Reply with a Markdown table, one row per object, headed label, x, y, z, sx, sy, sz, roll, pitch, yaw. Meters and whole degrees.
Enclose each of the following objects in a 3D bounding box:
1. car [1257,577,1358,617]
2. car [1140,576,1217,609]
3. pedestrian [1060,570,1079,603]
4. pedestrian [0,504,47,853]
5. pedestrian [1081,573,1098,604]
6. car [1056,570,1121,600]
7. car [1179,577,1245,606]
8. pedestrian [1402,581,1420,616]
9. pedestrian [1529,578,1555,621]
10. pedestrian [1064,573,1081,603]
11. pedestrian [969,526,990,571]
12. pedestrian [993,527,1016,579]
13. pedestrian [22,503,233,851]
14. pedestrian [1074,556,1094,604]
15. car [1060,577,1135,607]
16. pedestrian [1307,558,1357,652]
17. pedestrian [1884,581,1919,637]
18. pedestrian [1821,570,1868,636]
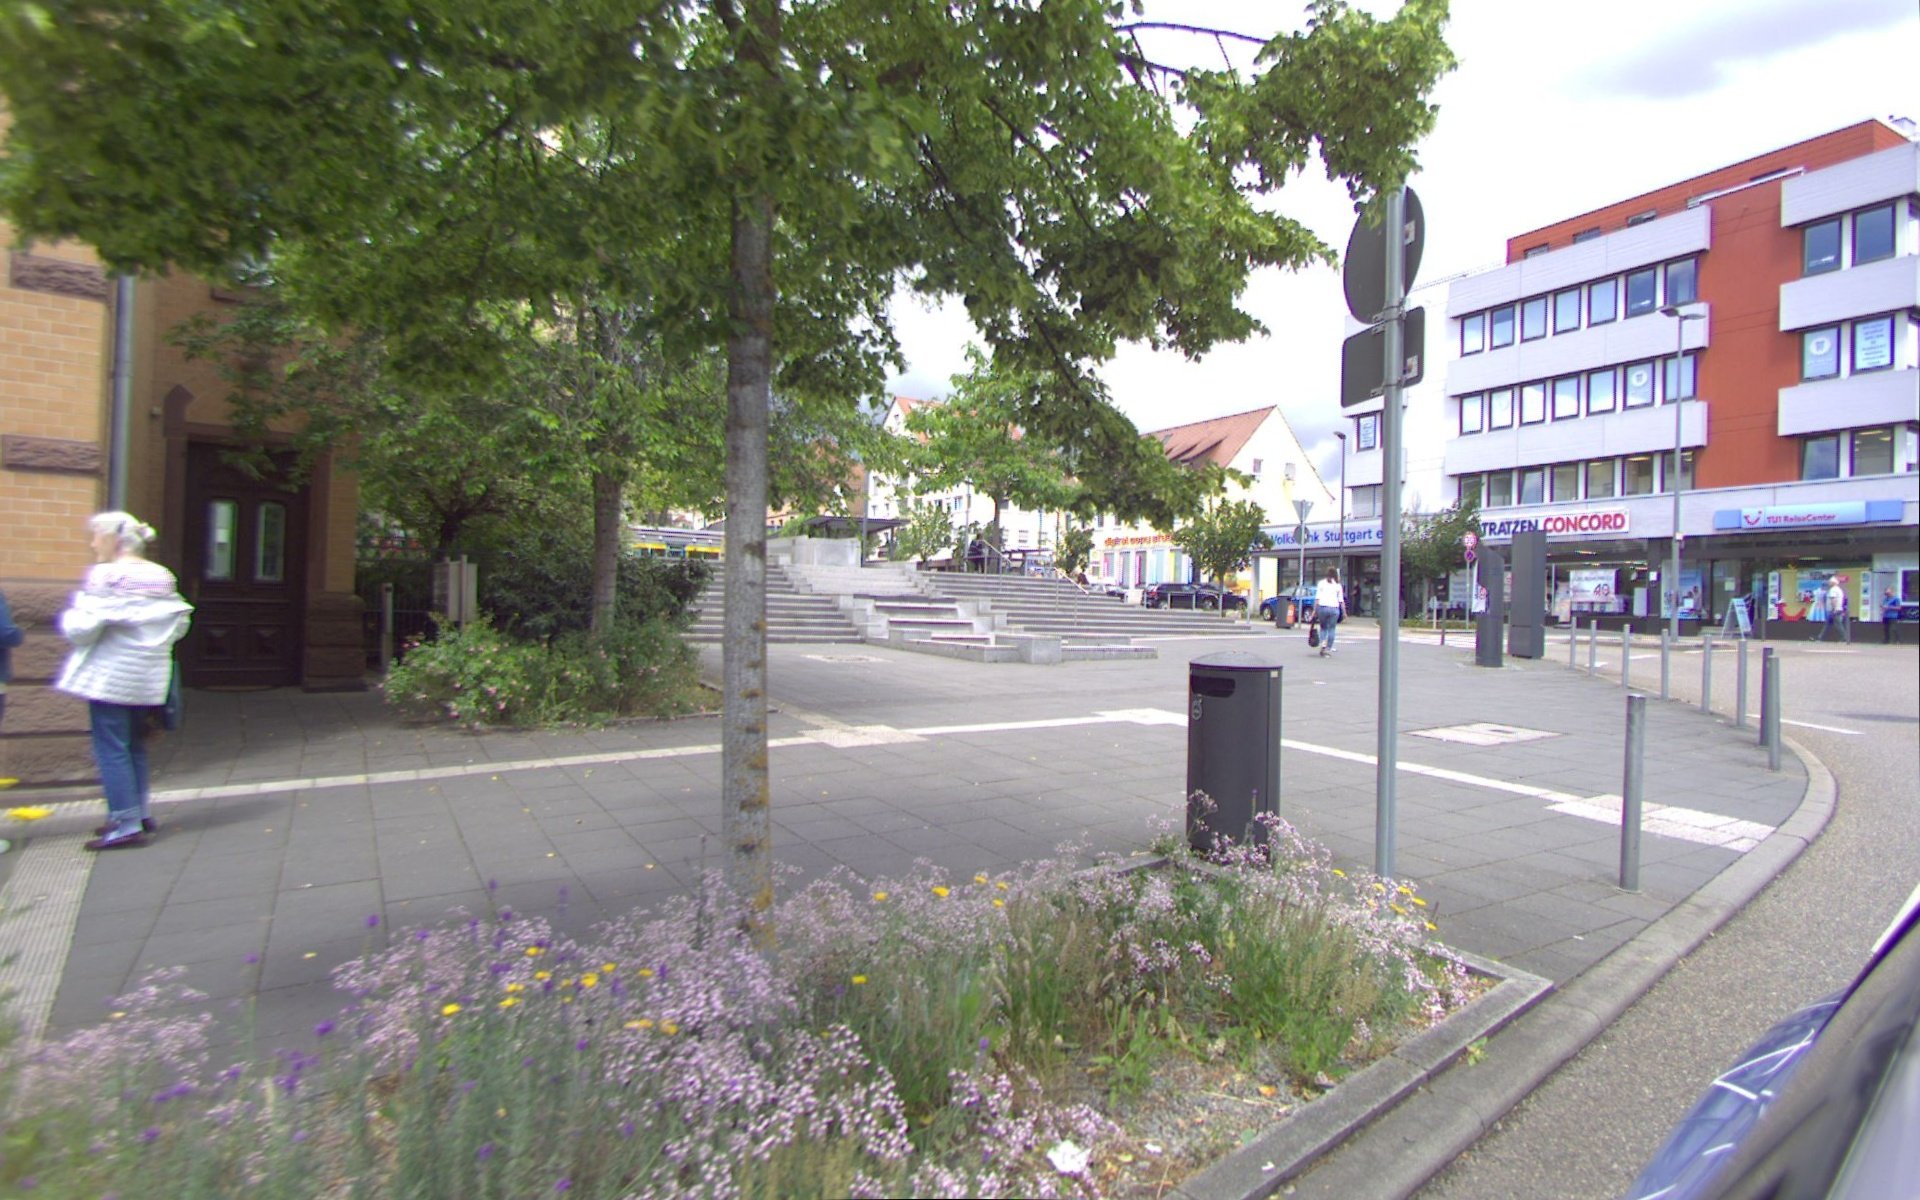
| label | x | y | z | sx | sy | sz | roll | pitch | yaw |
| --- | --- | --- | --- | --- | --- | --- | --- | --- | --- |
| car | 15.166 | -0.186 | 44.372 | 1.665 | 1.619 | 4.340 | -1 | 2 | -25 |
| car | 11.825 | -0.424 | 54.855 | 3.664 | 1.542 | 1.897 | 2 | 3 | -1 |
| pedestrian | 4.548 | -0.552 | 42.024 | 0.594 | 1.320 | 0.428 | 4 | 0 | 30 |
| pedestrian | -4.850 | 0.364 | 4.897 | 0.499 | 1.649 | 0.507 | 1 | 1 | -23 |
| pedestrian | 5.187 | -0.465 | 40.435 | 0.467 | 1.187 | 0.391 | 4 | -1 | -27 |
| car | 8.073 | -0.979 | 64.034 | 1.727 | 1.836 | 4.482 | 0 | 2 | -29 |
| car | 14.847 | -0.503 | 59.527 | 3.565 | 1.578 | 1.671 | 1 | 1 | -29 |
| pedestrian | 22.739 | -0.070 | 51.044 | 0.633 | 1.727 | 0.586 | 3 | -3 | -37 |
| pedestrian | 22.279 | -0.021 | 38.755 | 0.577 | 1.608 | 0.639 | 1 | 1 | -29 |
| pedestrian | 4.390 | -0.476 | 39.514 | 0.431 | 1.163 | 0.383 | 4 | 0 | -26 |
| pedestrian | 0.588 | -1.534 | 30.261 | 0.356 | 1.302 | 0.642 | 2 | -1 | -22 |
| pedestrian | 1.347 | -1.405 | 30.635 | 0.494 | 1.527 | 0.455 | 2 | -1 | -27 |
| pedestrian | -4.277 | 0.352 | 5.223 | 0.548 | 1.649 | 0.672 | 2 | 1 | 24 |
| pedestrian | 4.865 | -0.797 | 39.827 | 0.530 | 1.846 | 0.436 | 4 | -1 | -18 |
| car | 7.203 | -0.468 | 53.441 | 1.670 | 1.436 | 4.123 | 0 | 2 | -32 |
| pedestrian | 7.229 | 0.087 | 19.664 | 0.702 | 1.767 | 0.767 | 2 | 1 | 35 |
| pedestrian | 27.410 | 0.253 | 29.453 | 0.599 | 1.624 | 0.564 | 1 | 0 | 24 |
| pedestrian | 25.894 | 0.087 | 29.628 | 0.789 | 1.898 | 0.682 | 1 | 0 | -13 |
